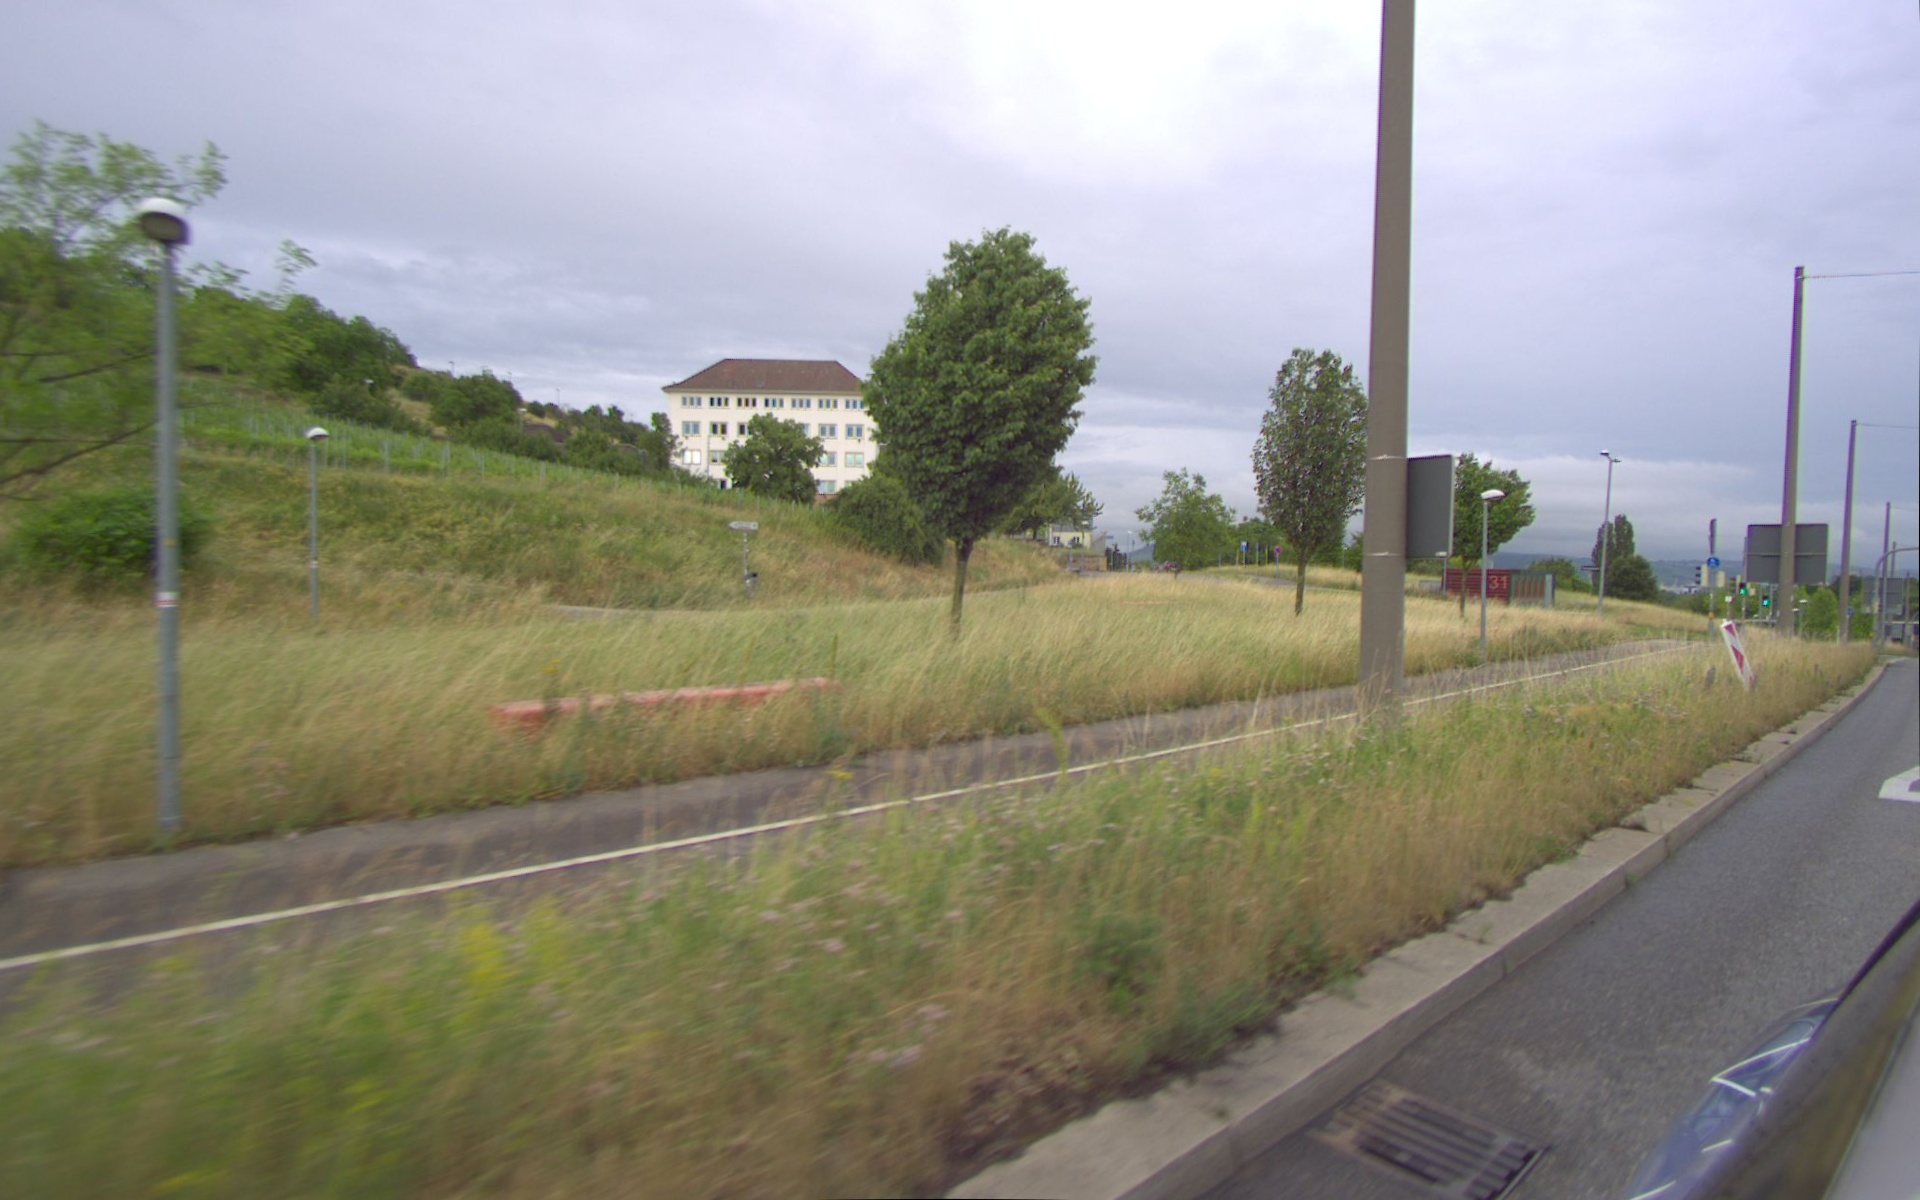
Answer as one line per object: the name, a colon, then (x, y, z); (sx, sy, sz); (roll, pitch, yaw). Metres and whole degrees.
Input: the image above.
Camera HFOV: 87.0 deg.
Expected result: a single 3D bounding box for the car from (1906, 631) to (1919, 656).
car: (65.061, 2.944, 68.015); (4.551, 1.663, 1.994); (3, -2, -44)
